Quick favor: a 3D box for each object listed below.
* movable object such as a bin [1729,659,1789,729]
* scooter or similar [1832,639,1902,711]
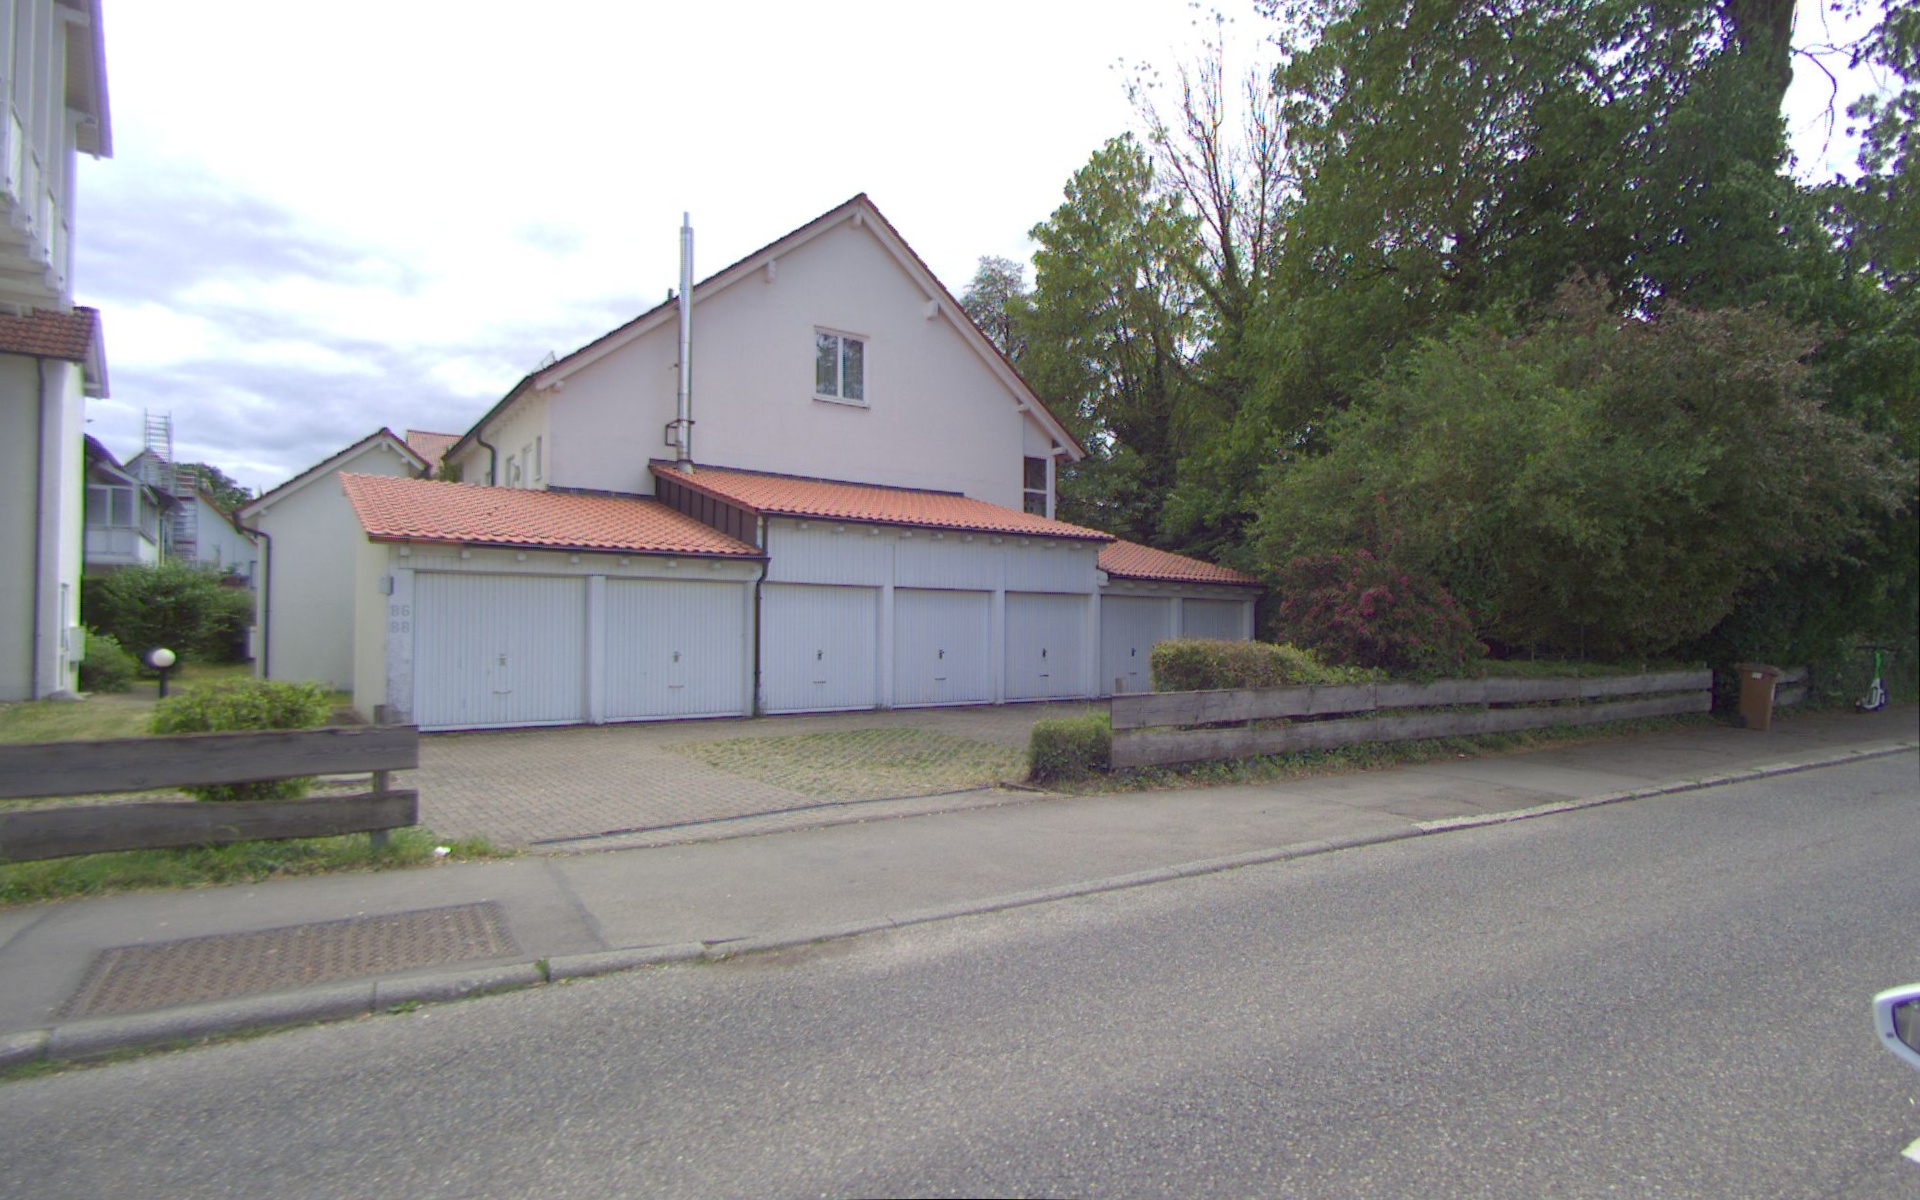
[{"bbox_3d":[11.625,1.354,14.616,0.562,0.957,0.511,1,0,-30],"label":"movable object such as a bin"},{"bbox_3d":[16.070,1.308,17.788,1.619,1.215,0.407,1,-1,-29],"label":"scooter or similar"}]
